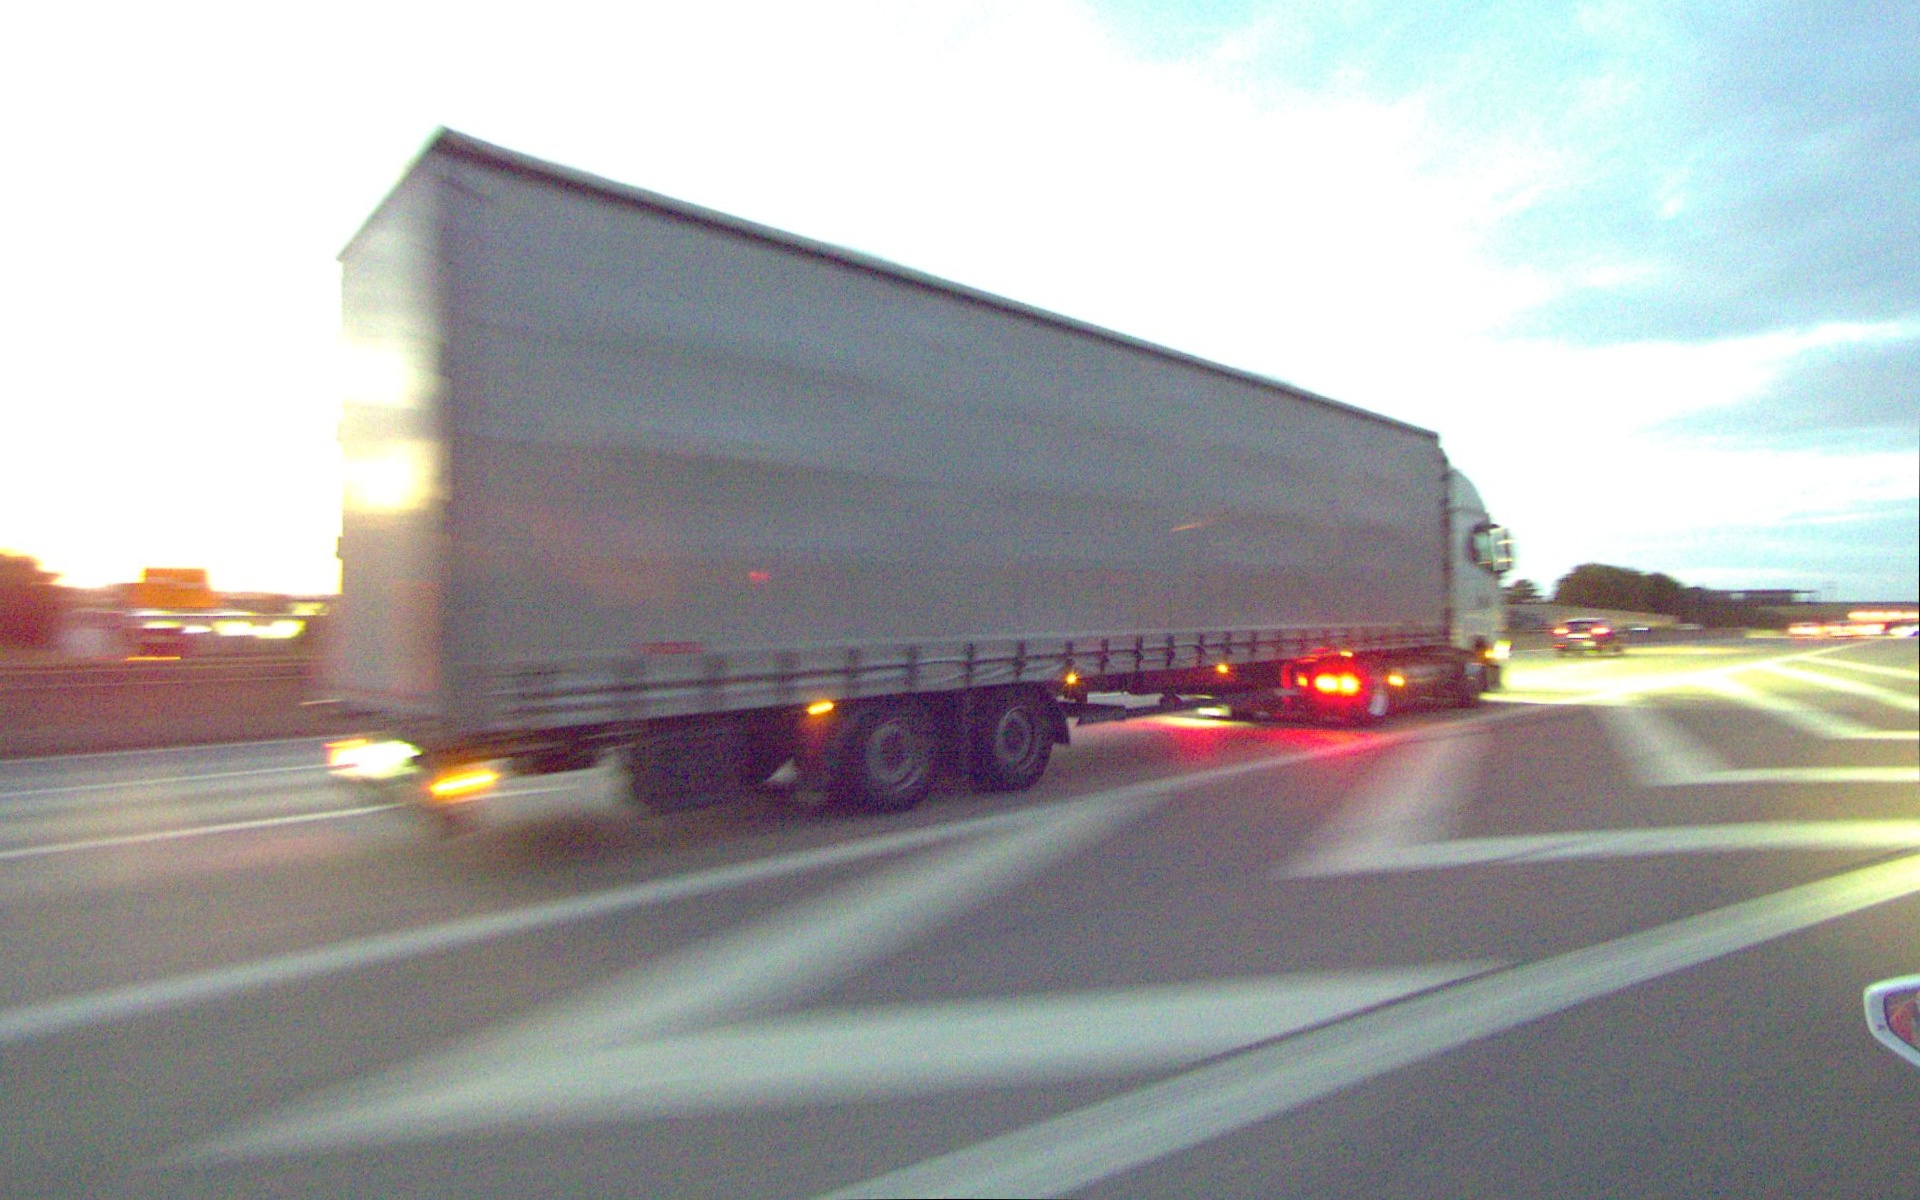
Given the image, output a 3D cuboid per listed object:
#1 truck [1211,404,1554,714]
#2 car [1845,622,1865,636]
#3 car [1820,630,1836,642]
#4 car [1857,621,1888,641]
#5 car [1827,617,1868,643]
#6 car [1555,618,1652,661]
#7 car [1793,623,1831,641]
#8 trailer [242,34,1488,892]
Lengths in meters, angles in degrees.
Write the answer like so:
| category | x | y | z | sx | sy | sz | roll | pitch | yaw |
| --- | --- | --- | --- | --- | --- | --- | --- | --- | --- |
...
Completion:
| category | x | y | z | sx | sy | sz | roll | pitch | yaw |
| --- | --- | --- | --- | --- | --- | --- | --- | --- | --- |
| truck | 6.868 | -0.452 | 15.893 | 6.112 | 3.953 | 2.753 | 1 | -2 | -44 |
| car | 140.745 | 4.575 | 158.011 | 2.047 | 2.040 | 3.982 | -2 | -2 | 39 |
| car | 161.660 | 6.704 | 186.991 | 2.082 | 2.040 | 3.977 | -3 | -3 | 43 |
| car | 96.841 | 3.316 | 106.570 | 3.968 | 2.040 | 1.977 | 0 | -2 | -41 |
| car | 69.697 | 2.344 | 78.861 | 3.969 | 2.040 | 1.976 | 1 | -2 | -42 |
| car | 24.453 | 1.452 | 38.105 | 4.515 | 1.518 | 1.976 | 1 | -2 | -42 |
| car | 83.543 | 3.097 | 98.501 | 4.514 | 1.664 | 1.979 | 0 | -2 | -38 |
| trailer | 1.492 | -0.533 | 10.730 | 14.716 | 3.967 | 2.748 | 1 | -2 | -44 |
